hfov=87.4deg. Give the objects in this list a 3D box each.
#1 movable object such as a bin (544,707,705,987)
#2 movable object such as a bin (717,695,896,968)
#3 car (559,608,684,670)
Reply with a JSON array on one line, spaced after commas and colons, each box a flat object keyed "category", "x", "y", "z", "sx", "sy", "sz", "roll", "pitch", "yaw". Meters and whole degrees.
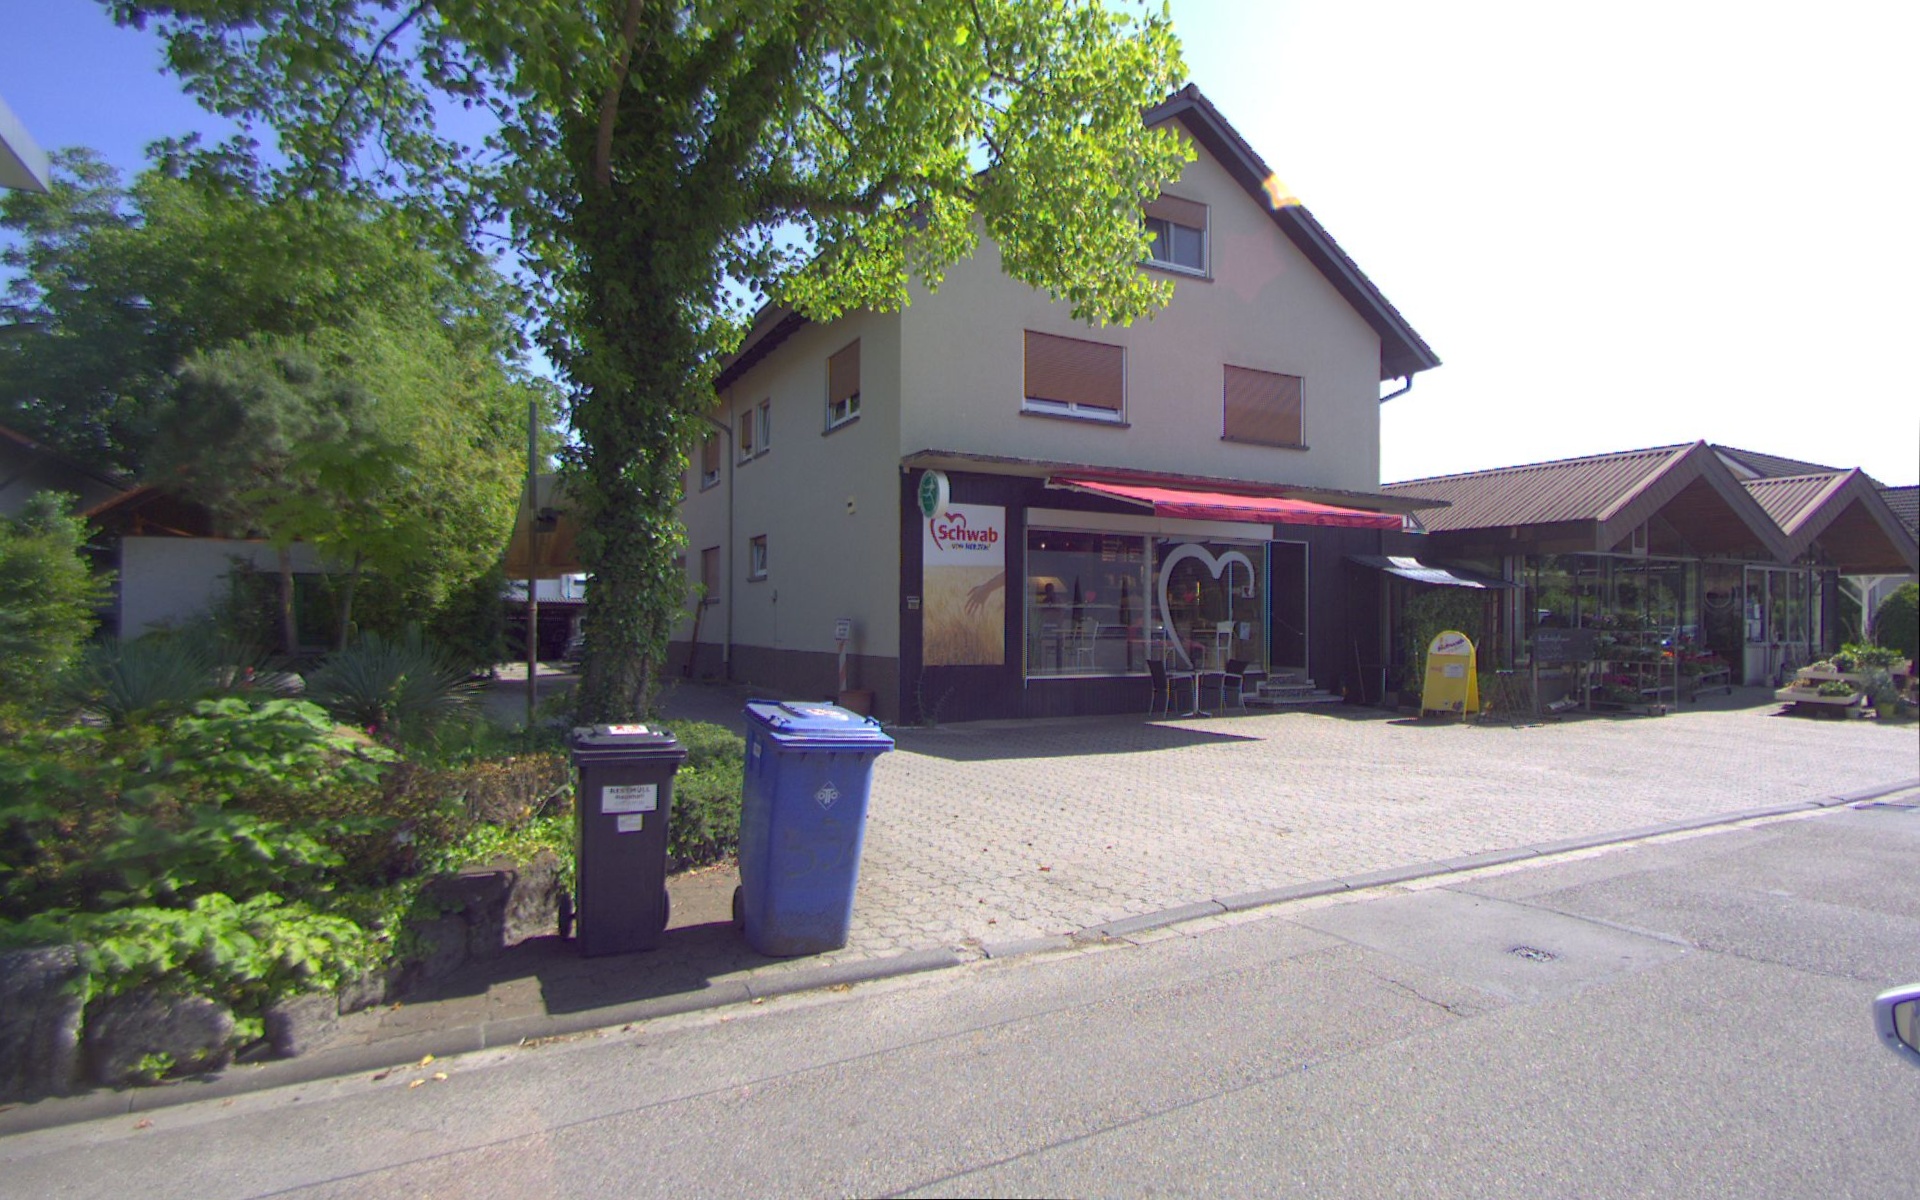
[{"category": "movable object such as a bin", "x": -1.474, "y": 1.026, "z": 4.392, "sx": 0.561, "sy": 1.038, "sz": 0.580, "roll": 1, "pitch": 0, "yaw": -29}, {"category": "movable object such as a bin", "x": -0.733, "y": 1.021, "z": 4.701, "sx": 0.605, "sy": 1.068, "sz": 0.727, "roll": 1, "pitch": 0, "yaw": -29}, {"category": "car", "x": -14.048, "y": 1.586, "z": 41.746, "sx": 4.596, "sy": 2.441, "sz": 2.177, "roll": 1, "pitch": -2, "yaw": -31}]
